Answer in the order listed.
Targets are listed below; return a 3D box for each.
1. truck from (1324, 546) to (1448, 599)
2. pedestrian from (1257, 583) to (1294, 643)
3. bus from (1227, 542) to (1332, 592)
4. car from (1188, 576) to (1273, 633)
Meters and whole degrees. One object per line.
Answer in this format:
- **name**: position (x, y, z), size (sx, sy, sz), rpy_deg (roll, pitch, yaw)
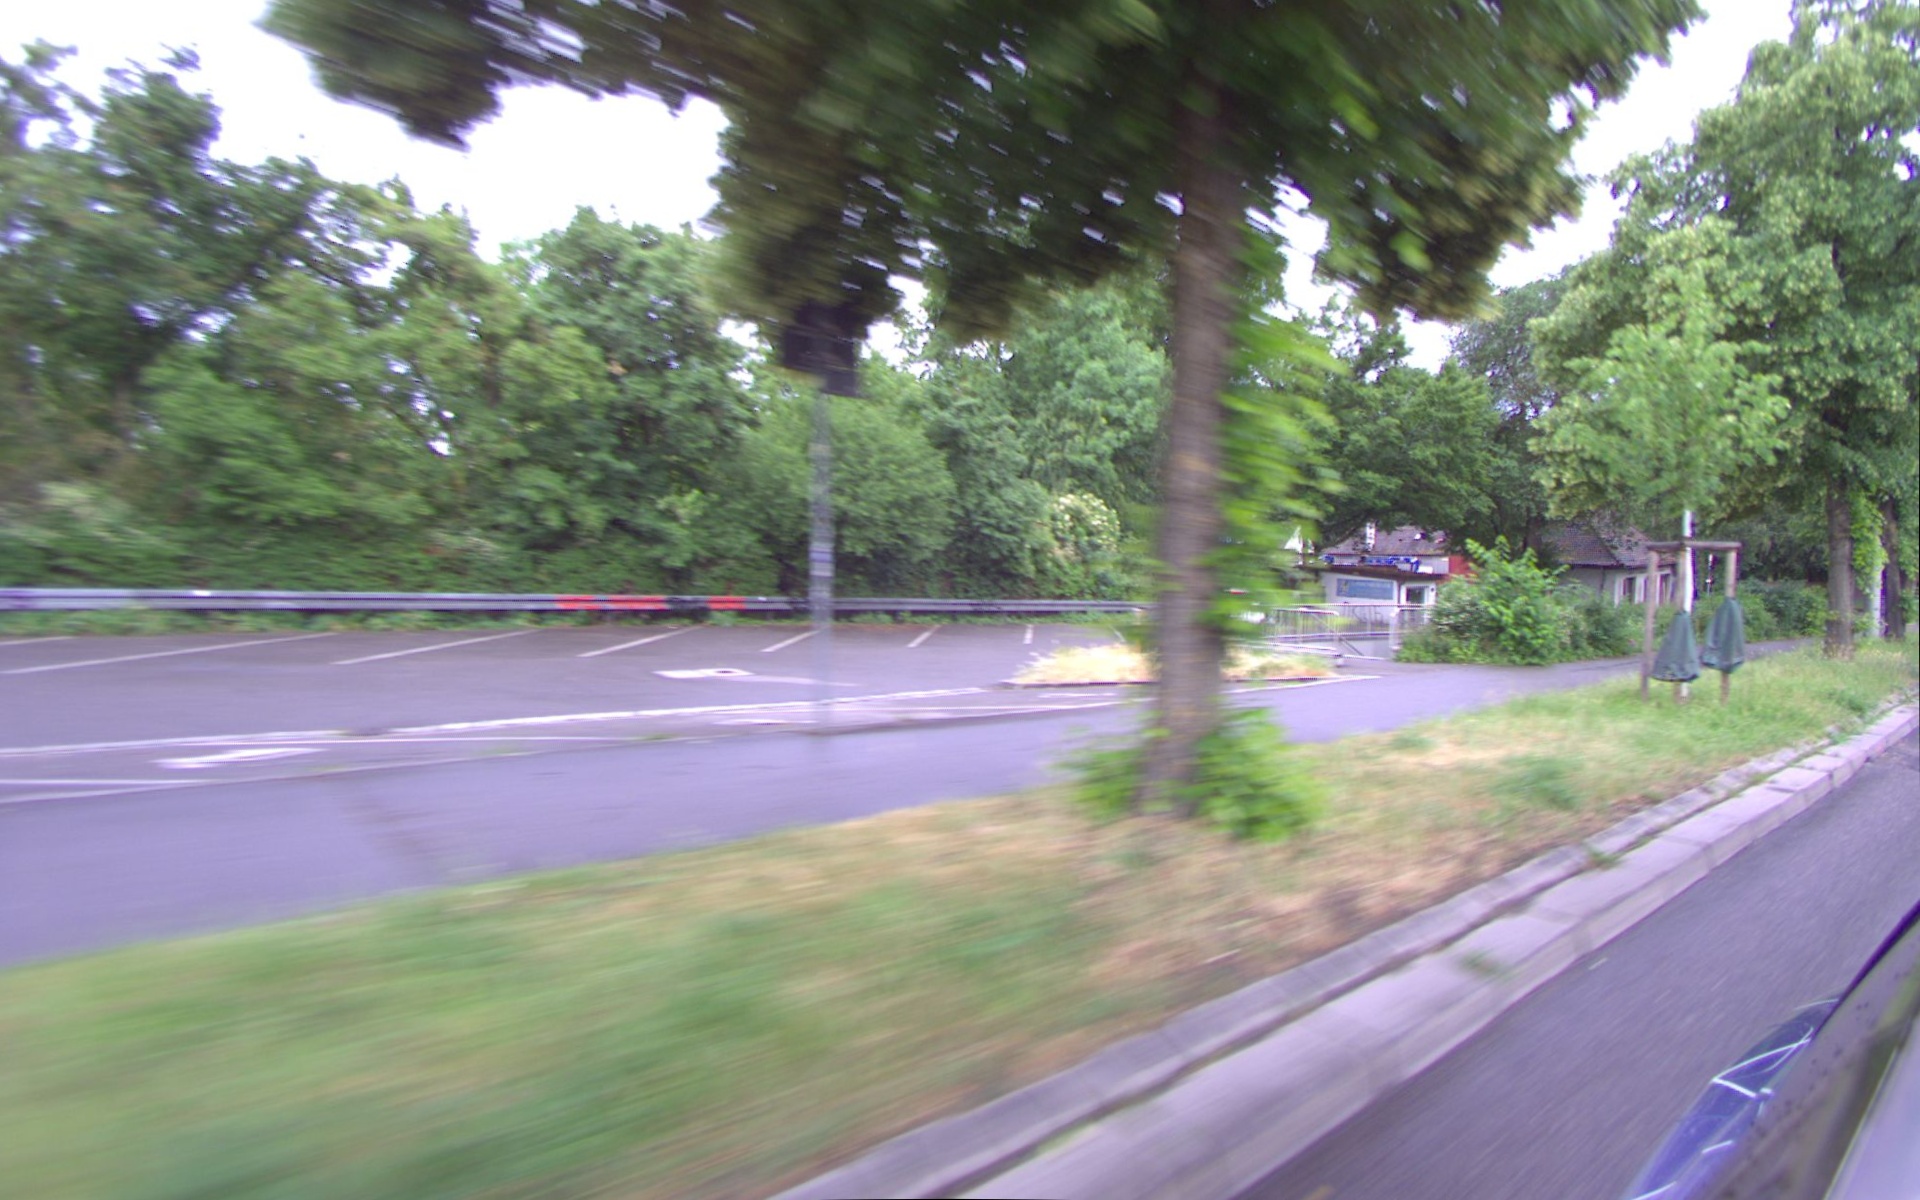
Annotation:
- **truck**: position (24.957, -1.616, 59.382), size (6.471, 2.903, 2.063), rpy_deg (1, 1, -8)
- **pedestrian**: position (10.031, 0.407, 32.221), size (0.881, 1.792, 0.942), rpy_deg (3, 3, 7)
- **bus**: position (18.763, -1.901, 59.225), size (7.036, 2.734, 2.258), rpy_deg (0, 2, -38)
- **car**: position (8.444, 0.070, 31.971), size (1.966, 1.599, 4.642), rpy_deg (1, 2, 7)
